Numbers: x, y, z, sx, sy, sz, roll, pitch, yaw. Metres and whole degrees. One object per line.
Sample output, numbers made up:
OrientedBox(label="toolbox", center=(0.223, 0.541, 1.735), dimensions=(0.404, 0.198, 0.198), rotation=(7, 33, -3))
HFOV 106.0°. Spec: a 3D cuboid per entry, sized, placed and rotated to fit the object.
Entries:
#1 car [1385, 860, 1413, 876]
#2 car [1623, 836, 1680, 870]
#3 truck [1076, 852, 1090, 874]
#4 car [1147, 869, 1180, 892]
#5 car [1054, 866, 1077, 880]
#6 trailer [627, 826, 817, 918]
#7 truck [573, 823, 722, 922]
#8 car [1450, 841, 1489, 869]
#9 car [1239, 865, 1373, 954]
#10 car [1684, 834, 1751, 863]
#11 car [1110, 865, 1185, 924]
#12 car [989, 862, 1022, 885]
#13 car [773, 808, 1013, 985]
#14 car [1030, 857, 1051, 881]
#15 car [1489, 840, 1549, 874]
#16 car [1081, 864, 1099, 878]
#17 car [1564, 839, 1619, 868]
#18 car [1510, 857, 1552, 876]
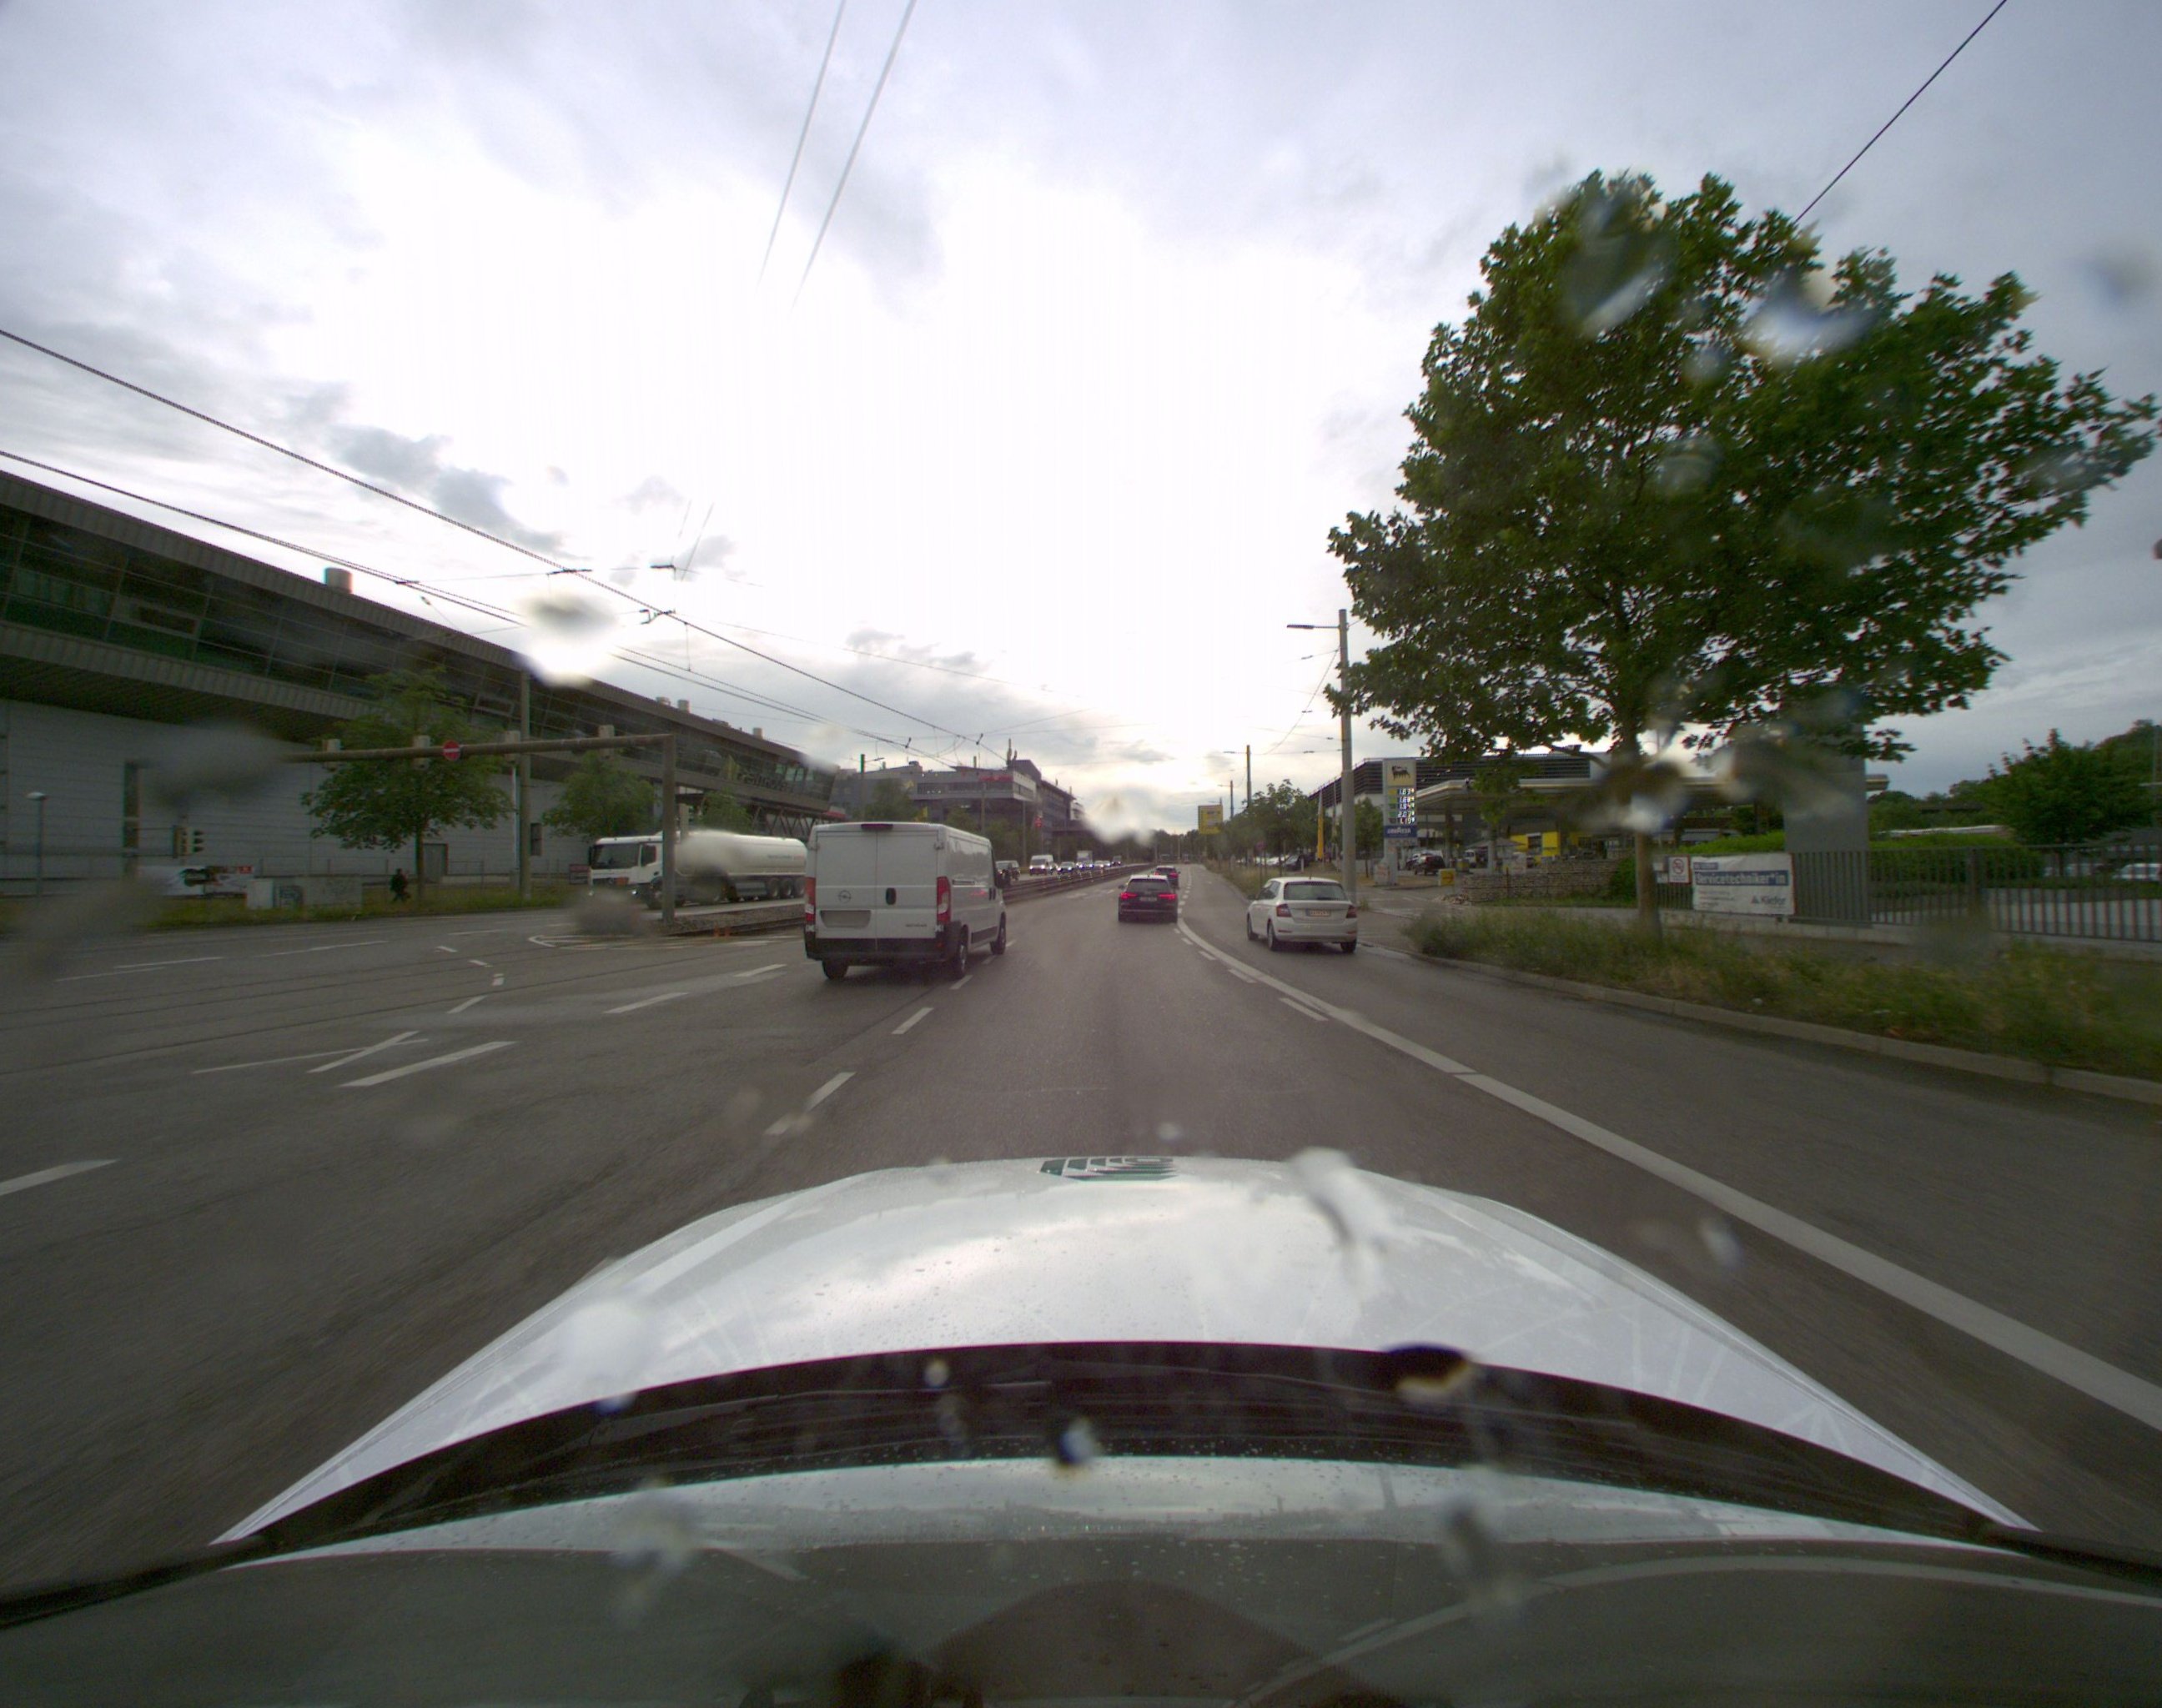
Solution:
OrientedBox(label="car", center=(32.573, 1.403, 83.521), dimensions=(1.782, 1.591, 4.008), rotation=(-1, -1, 7))
OrientedBox(label="car", center=(35.966, -0.062, 51.400), dimensions=(1.666, 2.014, 3.144), rotation=(1, 0, 8))
OrientedBox(label="truck", center=(0.440, 1.597, 141.591), dimensions=(2.150, 3.645, 6.876), rotation=(1, 0, 2))
OrientedBox(label="car", center=(5.627, 1.780, 54.964), dimensions=(1.882, 1.465, 3.920), rotation=(0, -1, 10))
OrientedBox(label="car", center=(-1.817, 2.251, 98.871), dimensions=(1.789, 1.621, 4.970), rotation=(-1, -1, 11))
OrientedBox(label="trailer", center=(-17.271, 0.884, 40.543), dimensions=(2.707, 3.855, 11.260), rotation=(-2, -1, 10))
OrientedBox(label="truck", center=(-18.316, 0.771, 34.819), dimensions=(2.728, 3.805, 5.427), rotation=(-2, -1, 10))
OrientedBox(label="car", center=(28.729, 0.078, 60.357), dimensions=(1.669, 2.014, 3.550), rotation=(1, -1, 9))
OrientedBox(label="car", center=(4.614, 1.076, 17.293), dimensions=(1.822, 1.656, 4.000), rotation=(0, -1, 1))
OrientedBox(label="car", center=(46.432, -0.376, 59.507), dimensions=(1.985, 2.014, 4.004), rotation=(1, 0, 4))
OrientedBox(label="car", center=(2.010, 1.210, 25.570), dimensions=(1.987, 1.637, 3.999), rotation=(1, 0, 0))
OrientedBox(label="car", center=(-6.642, 1.712, 72.159), dimensions=(2.149, 1.886, 4.307), rotation=(1, 0, 4))
OrientedBox(label="car", center=(-2.688, 0.599, 13.163), dimensions=(2.435, 2.294, 4.909), rotation=(-1, -1, 4))
OrientedBox(label="car", center=(-4.920, 1.803, 99.851), dimensions=(2.150, 2.722, 5.069), rotation=(1, 0, 2))
OrientedBox(label="car", center=(27.416, 0.186, 51.147), dimensions=(1.982, 2.032, 4.009), rotation=(-2, -1, 8))
OrientedBox(label="car", center=(1.325, 2.453, 118.861), dimensions=(2.148, 1.886, 4.308), rotation=(1, 0, 6))
OrientedBox(label="car", center=(37.582, -0.045, 60.049), dimensions=(1.862, 2.014, 3.778), rotation=(1, 0, 4))
OrientedBox(label="car", center=(40.454, 1.105, 73.338), dimensions=(1.983, 1.596, 4.008), rotation=(-1, -1, 7))
